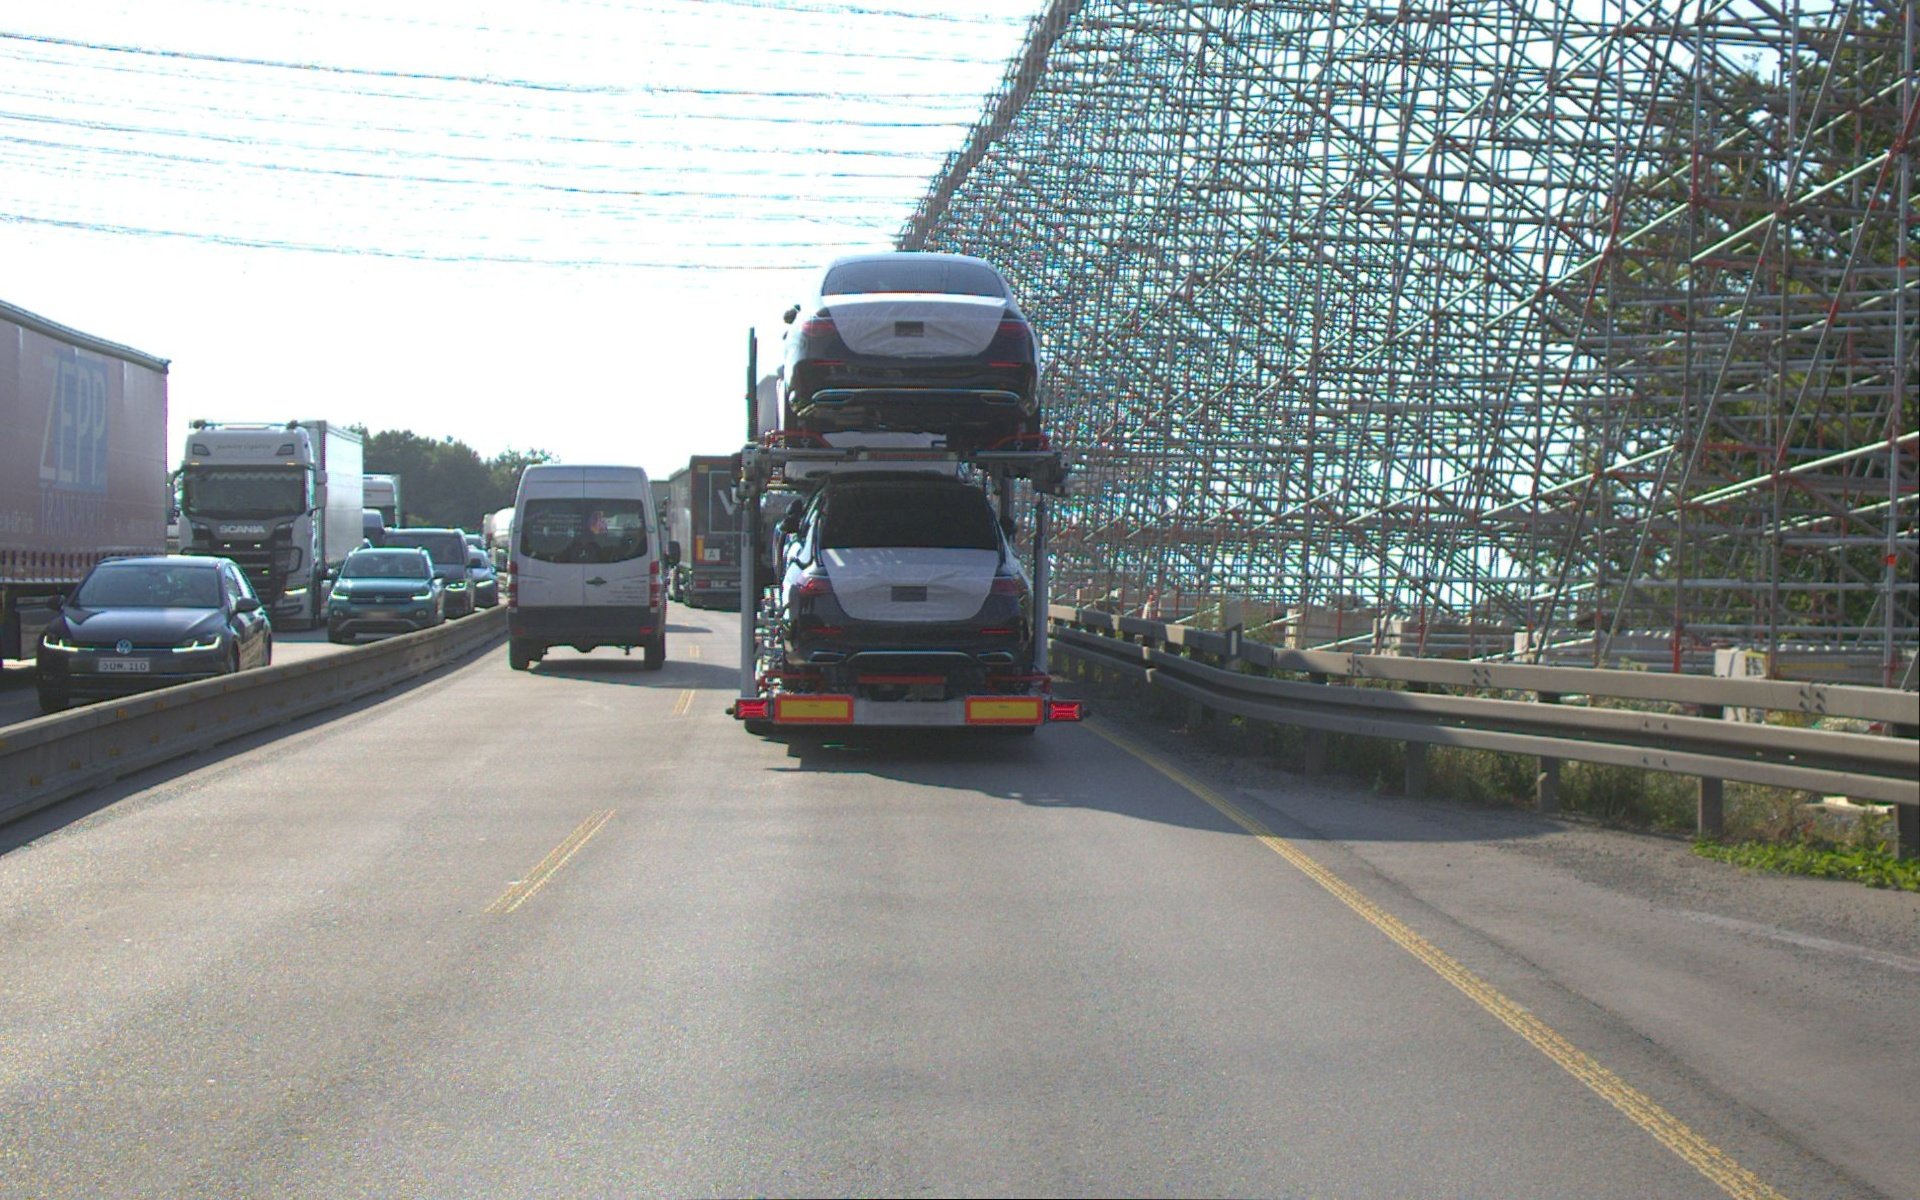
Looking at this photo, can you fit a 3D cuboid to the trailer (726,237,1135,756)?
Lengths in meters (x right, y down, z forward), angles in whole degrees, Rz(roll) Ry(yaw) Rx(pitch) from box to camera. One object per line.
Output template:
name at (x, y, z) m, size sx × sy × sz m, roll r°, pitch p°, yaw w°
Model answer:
trailer at (-0.712, -0.790, 32.117) m, size 2.868 × 3.712 × 14.949 m, roll 0°, pitch 0°, yaw -4°

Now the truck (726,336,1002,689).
truck at (-1.246, -0.940, 39.700) m, size 2.881 × 3.690 × 7.326 m, roll 0°, pitch 0°, yaw -4°

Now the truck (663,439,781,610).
truck at (-6.653, -2.056, 94.725) m, size 2.731 × 4.370 × 11.524 m, roll 1°, pitch 1°, yaw -6°

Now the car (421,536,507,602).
car at (-11.947, -0.761, 83.031) m, size 1.784 × 1.497 × 4.755 m, roll 1°, pitch 1°, yaw -6°

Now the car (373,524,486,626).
car at (-10.554, -0.511, 68.612) m, size 1.874 × 1.928 × 4.862 m, roll 1°, pitch 1°, yaw -5°

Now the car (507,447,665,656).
car at (-4.891, -0.614, 45.082) m, size 1.956 × 2.612 × 4.001 m, roll 0°, pitch 0°, yaw -6°

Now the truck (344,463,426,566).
truck at (-20.904, -3.052, 124.531) m, size 2.594 × 3.462 × 12.396 m, roll 1°, pitch 1°, yaw -11°

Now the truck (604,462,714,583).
truck at (-11.616, -2.909, 131.299) m, size 3.686 × 4.206 × 13.671 m, roll -3°, pitch 1°, yaw -6°

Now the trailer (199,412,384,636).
trailer at (-13.920, -1.563, 72.596) m, size 2.653 × 4.219 × 13.923 m, roll 1°, pitch 1°, yaw -7°

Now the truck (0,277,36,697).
truck at (-10.706, -1.101, 32.264) m, size 2.787 × 4.127 × 6.680 m, roll 0°, pitch 0°, yaw -5°

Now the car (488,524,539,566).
car at (-17.570, -2.161, 135.122) m, size 1.710 × 1.612 × 3.504 m, roll 0°, pitch 0°, yaw -12°

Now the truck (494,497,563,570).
truck at (-23.031, -3.554, 183.053) m, size 2.615 × 3.711 × 9.662 m, roll 1°, pitch 1°, yaw -13°

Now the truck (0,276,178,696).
truck at (-11.274, -1.160, 39.003) m, size 2.787 × 4.127 × 13.810 m, roll 0°, pitch 0°, yaw -5°

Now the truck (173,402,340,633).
truck at (-13.390, -1.538, 65.799) m, size 2.662 × 4.215 × 6.106 m, roll 0°, pitch 1°, yaw -7°

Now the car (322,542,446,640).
car at (-9.579, -0.178, 57.427) m, size 1.742 × 1.529 × 4.268 m, roll 1°, pitch 1°, yaw -6°

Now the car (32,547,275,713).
car at (-7.727, 0.238, 33.286) m, size 1.650 × 1.459 × 4.401 m, roll 2°, pitch 1°, yaw -5°
